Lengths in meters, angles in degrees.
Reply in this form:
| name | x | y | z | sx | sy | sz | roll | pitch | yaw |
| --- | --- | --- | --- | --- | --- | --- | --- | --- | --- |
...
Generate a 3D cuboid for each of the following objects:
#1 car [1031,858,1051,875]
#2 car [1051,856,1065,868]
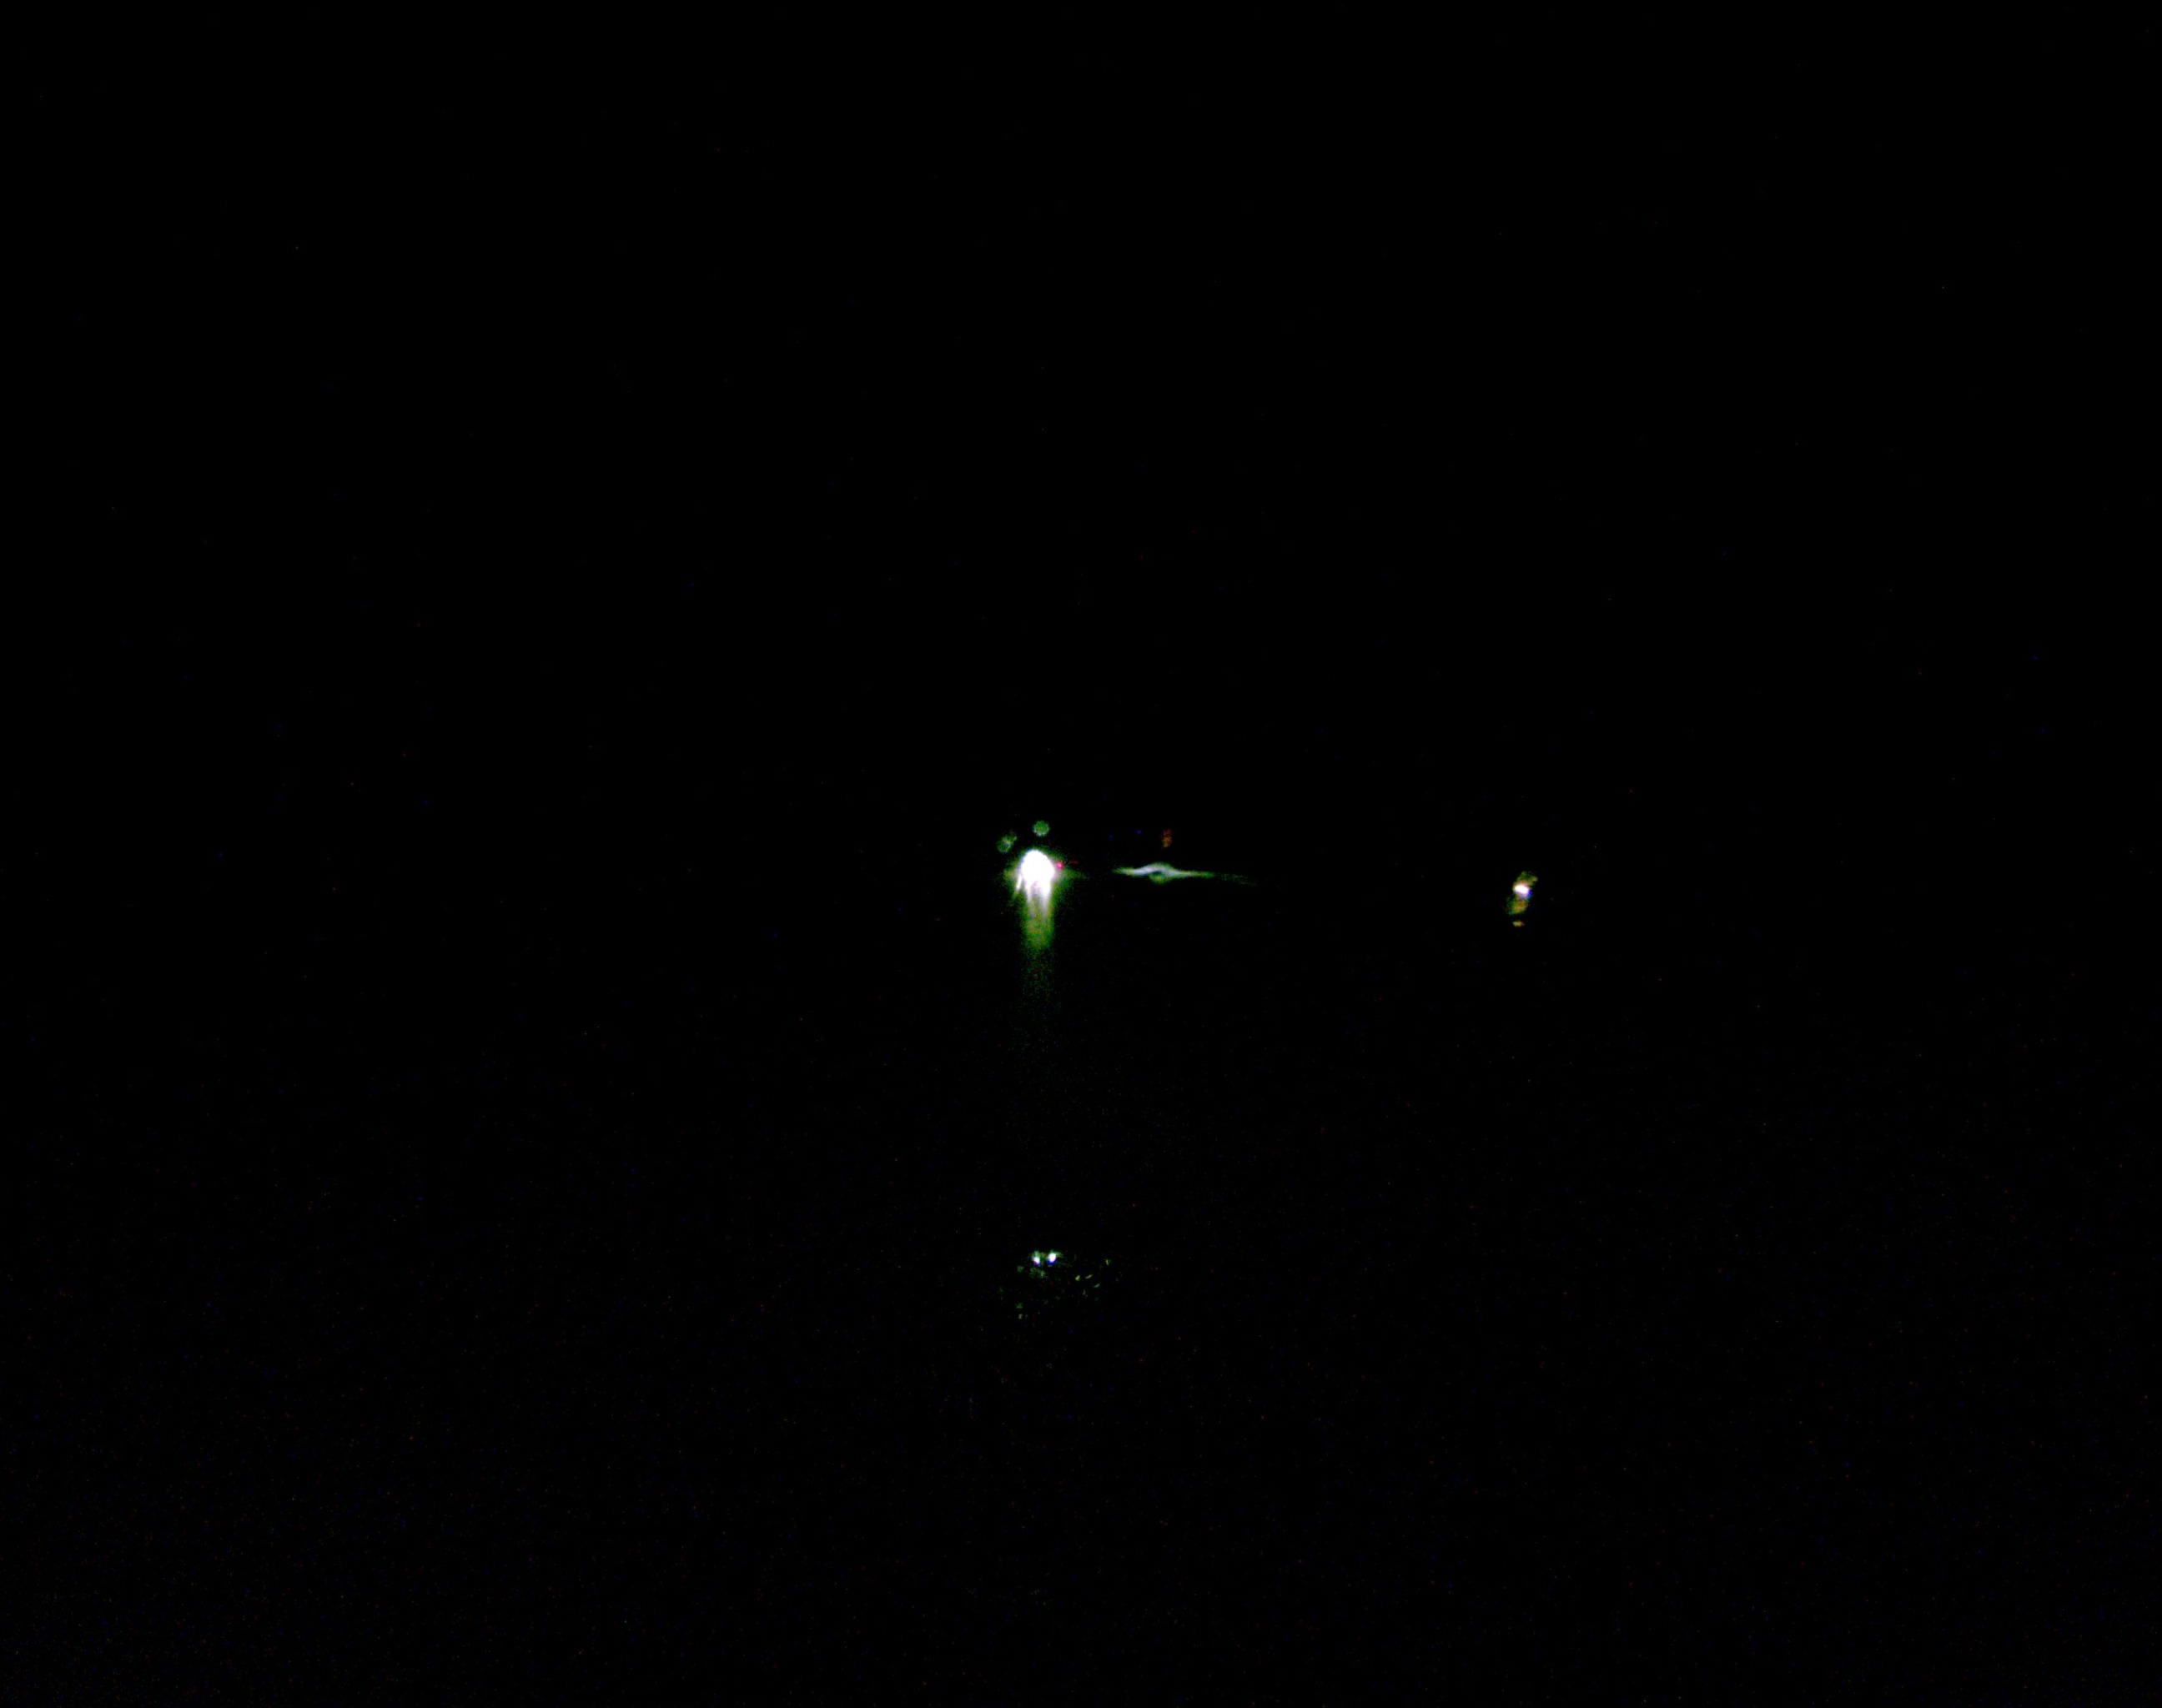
| name | x | y | z | sx | sy | sz | roll | pitch | yaw |
| --- | --- | --- | --- | --- | --- | --- | --- | --- | --- |
| car | -4.436 | 1.385 | 83.959 | 1.999 | 1.724 | 3.999 | 4 | 0 | -3 |
| car | -3.702 | 1.320 | 121.596 | 1.999 | 1.814 | 4.561 | -1 | 0 | -4 |
